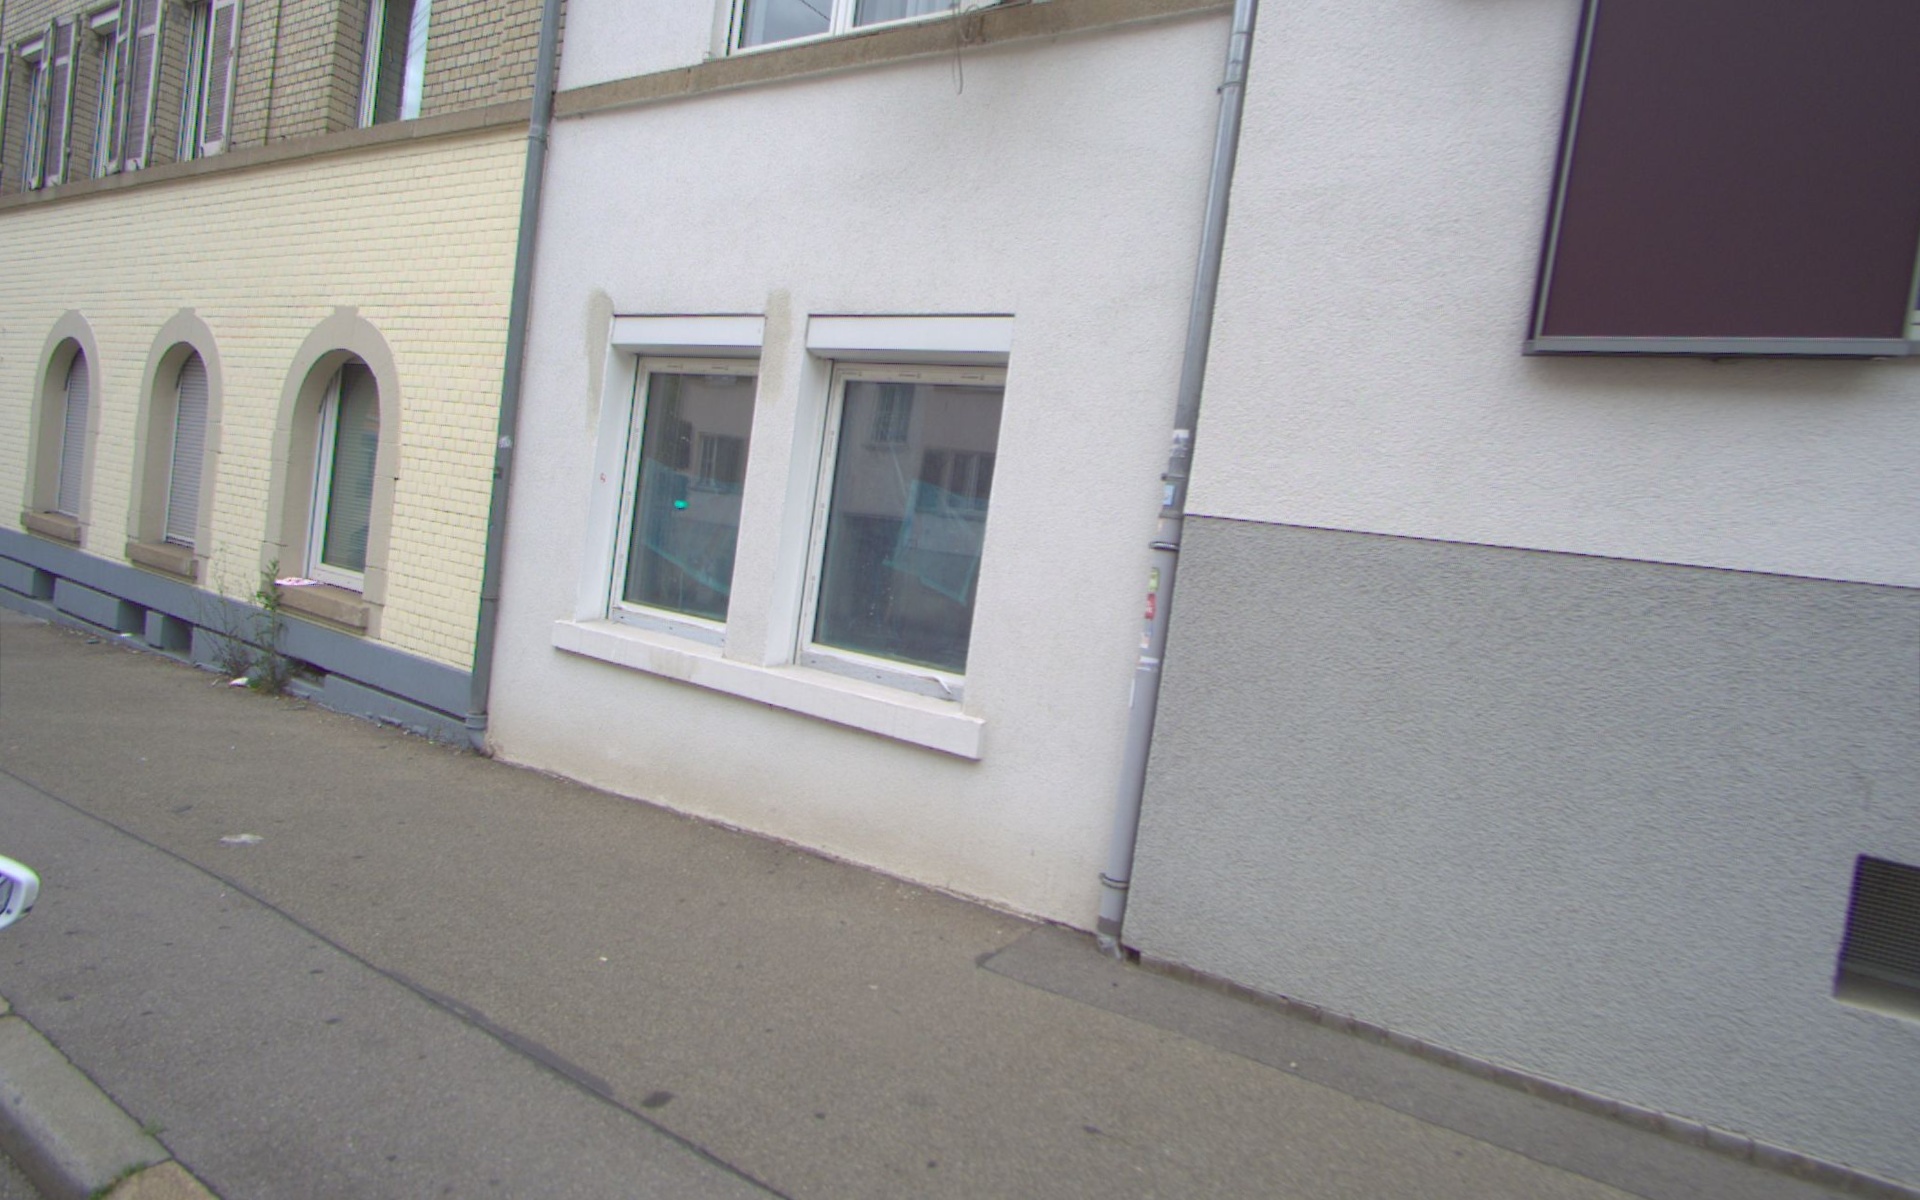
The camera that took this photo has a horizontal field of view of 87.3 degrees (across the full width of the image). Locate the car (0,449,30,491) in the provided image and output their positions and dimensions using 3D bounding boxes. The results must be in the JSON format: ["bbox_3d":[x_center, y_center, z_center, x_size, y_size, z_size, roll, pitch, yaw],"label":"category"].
[{"bbox_3d":[-39.500,-5.334,39.867,1.889,1.554,4.126,10,2,-12],"label":"car"}]

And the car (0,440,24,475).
[{"bbox_3d":[-47.425,-7.056,48.015,1.887,1.554,4.130,10,2,-8],"label":"car"}]
